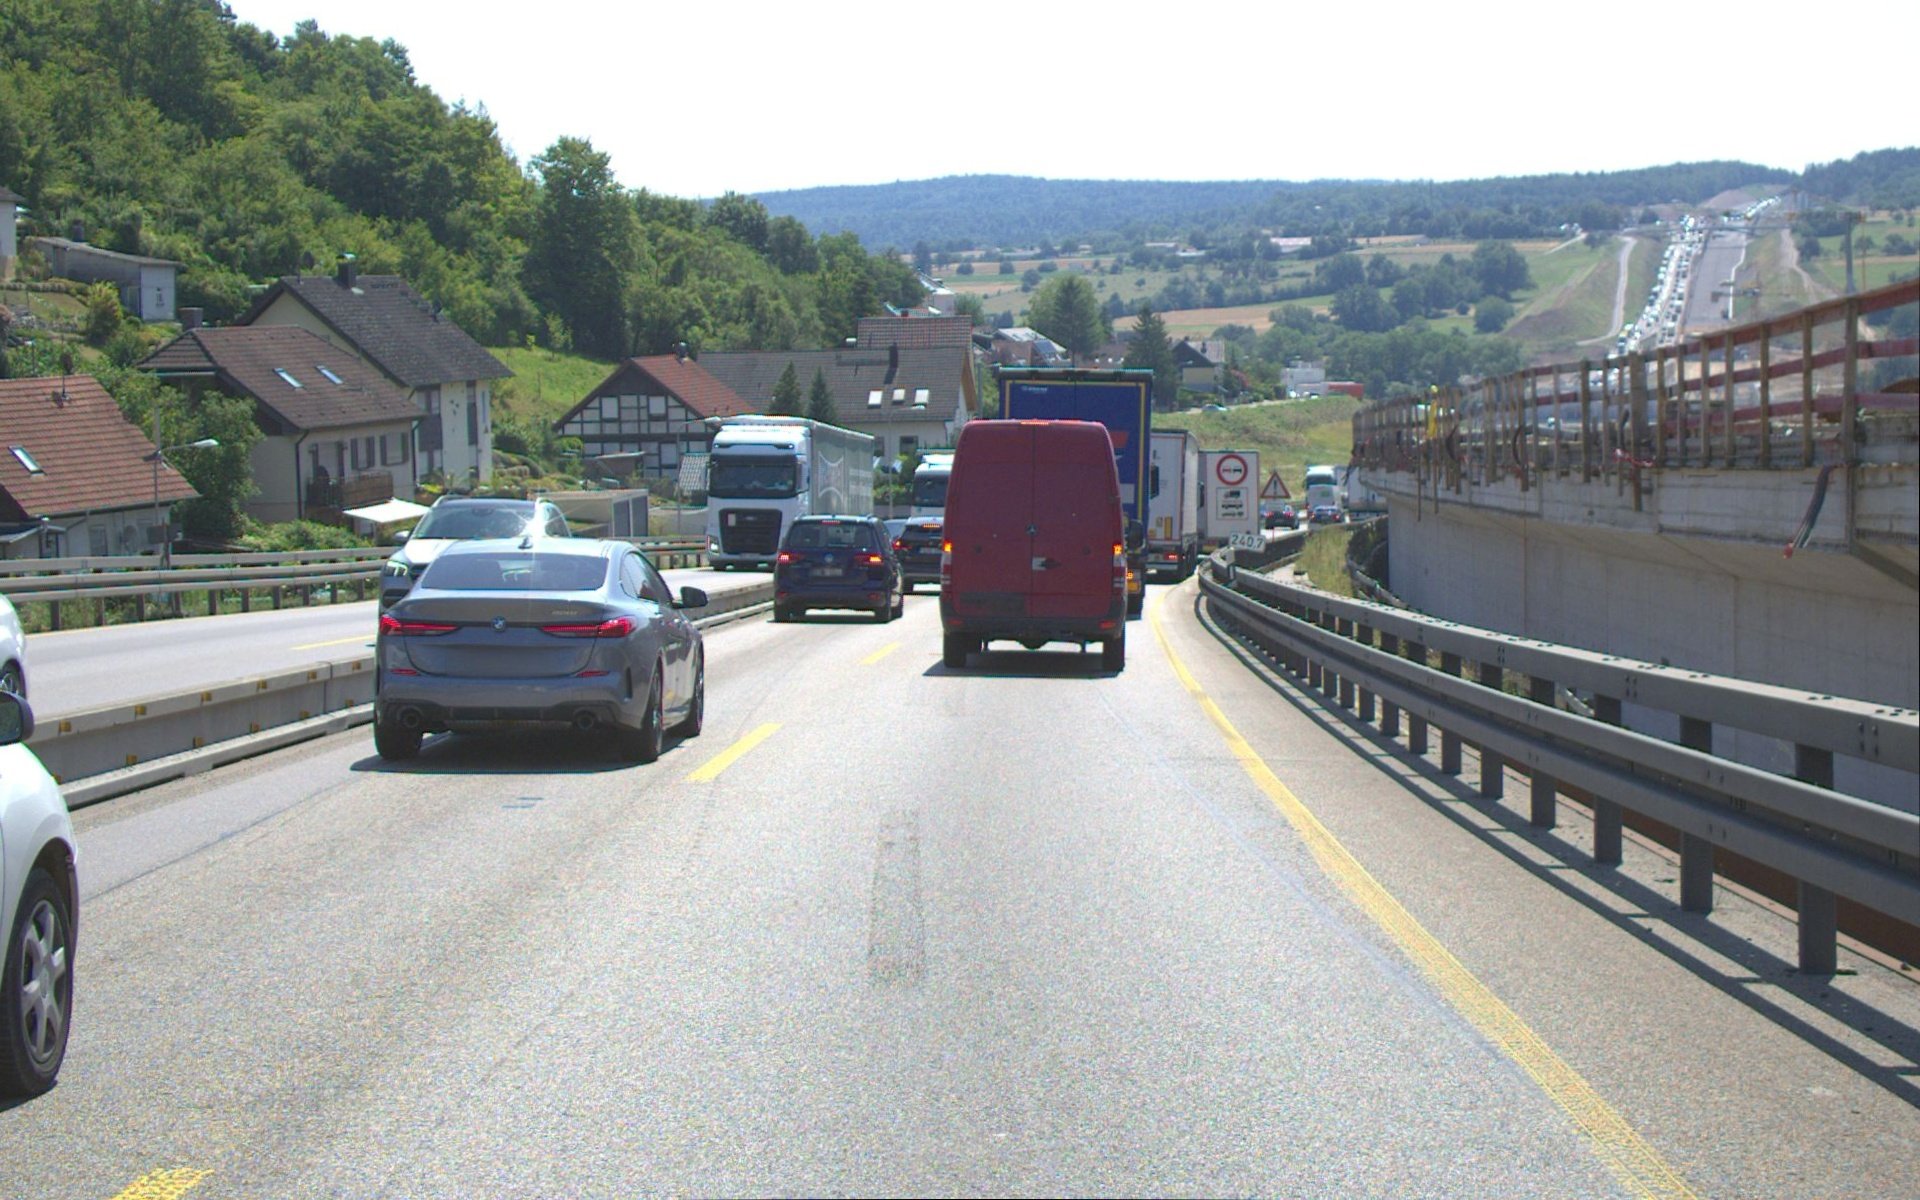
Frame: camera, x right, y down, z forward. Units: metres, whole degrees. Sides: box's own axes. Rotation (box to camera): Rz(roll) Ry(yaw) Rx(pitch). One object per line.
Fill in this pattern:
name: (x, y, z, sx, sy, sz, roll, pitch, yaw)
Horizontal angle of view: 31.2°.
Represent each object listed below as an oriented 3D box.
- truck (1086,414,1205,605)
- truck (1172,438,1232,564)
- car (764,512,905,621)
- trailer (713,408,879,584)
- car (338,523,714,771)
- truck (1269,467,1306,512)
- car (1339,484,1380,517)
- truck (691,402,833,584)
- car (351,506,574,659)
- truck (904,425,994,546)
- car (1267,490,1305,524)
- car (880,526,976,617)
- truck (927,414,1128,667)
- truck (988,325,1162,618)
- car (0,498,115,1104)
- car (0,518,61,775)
truck: (4.887, -2.327, 91.958, 2.786, 4.799, 9.685, 1, 0, 1)
truck: (8.673, -3.510, 123.036, 1.994, 4.366, 3.999, 1, 0, 5)
car: (-1.916, -0.513, 53.485, 1.810, 1.602, 3.718, 1, 0, 3)
trailer: (-4.684, -2.915, 101.886, 3.065, 4.799, 14.000, 1, 0, 5)
car: (-2.779, 0.242, 22.858, 1.795, 1.480, 4.049, 1, 1, 3)
truck: (12.042, -4.057, 126.485, 1.314, 1.537, 3.151, 1, 0, 5)
car: (25.948, -6.442, 223.163, 2.133, 2.007, 3.997, 1, 0, 14)
truck: (-5.398, -2.885, 94.385, 3.061, 4.805, 4.644, 1, 0, 6)
car: (-5.926, -0.248, 41.472, 1.912, 1.699, 4.736, 1, 1, 1)
truck: (-0.405, -4.495, 136.122, 2.847, 4.564, 5.786, 1, 0, 6)
car: (19.972, -5.665, 210.434, 1.804, 2.007, 3.998, 2, 1, 12)
car: (-0.649, -0.596, 72.282, 1.729, 1.832, 4.000, 1, 0, 3)
truck: (0.796, -0.629, 37.535, 1.994, 2.570, 4.000, 1, 0, 3)
truck: (2.010, -2.157, 61.779, 2.786, 4.799, 9.685, 1, 0, 1)
car: (-3.184, 0.515, 7.367, 1.651, 1.478, 4.266, -1, 1, 0)
car: (-6.505, 0.273, 18.820, 1.912, 1.481, 4.477, 1, 1, 1)
